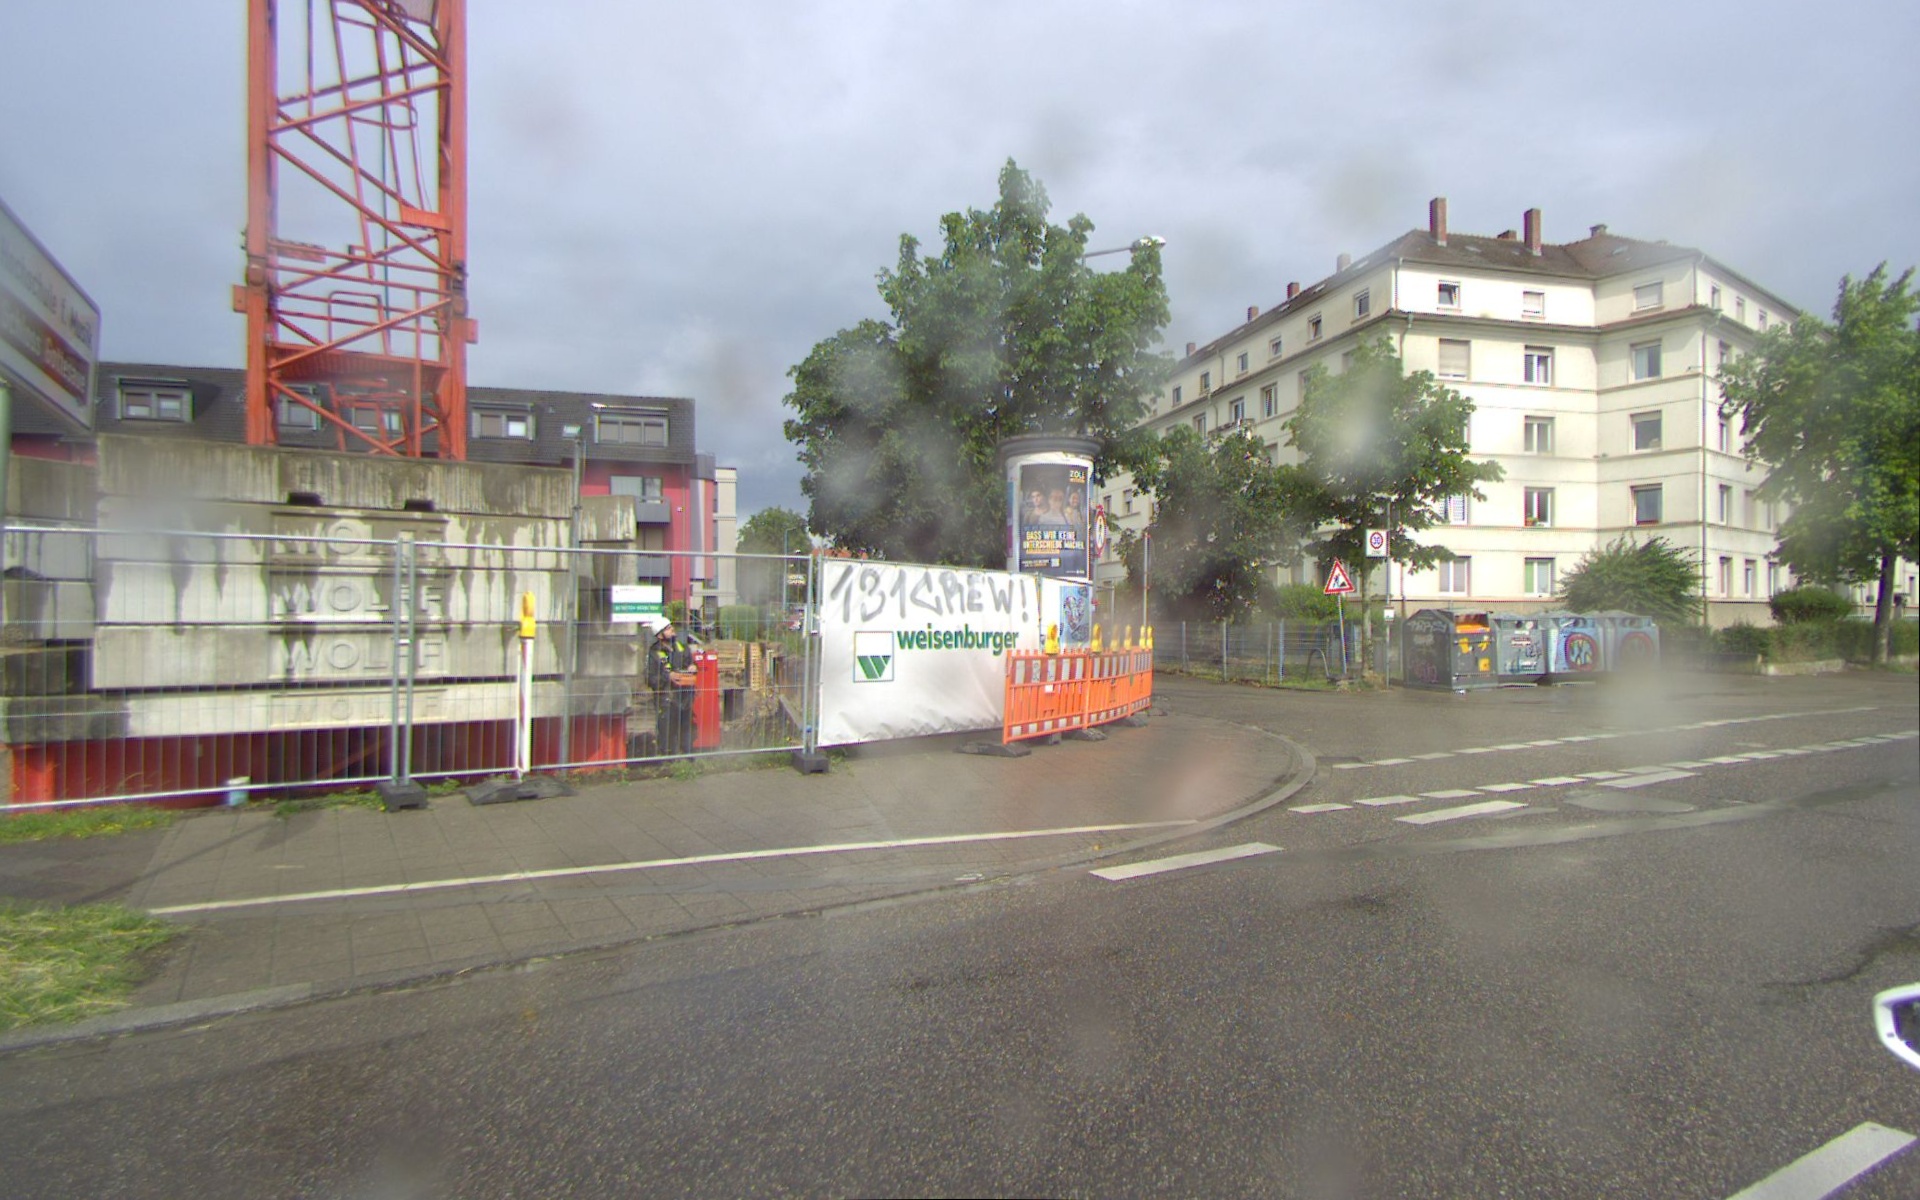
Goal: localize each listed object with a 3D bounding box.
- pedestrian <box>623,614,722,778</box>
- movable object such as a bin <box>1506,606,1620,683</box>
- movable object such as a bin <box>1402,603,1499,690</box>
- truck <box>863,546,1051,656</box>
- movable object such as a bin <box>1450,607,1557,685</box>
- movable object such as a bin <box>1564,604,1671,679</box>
[{"bbox_3d":[-3.046,0.983,10.683,0.709,1.651,0.684,2,1,21],"label":"pedestrian"},{"bbox_3d":[13.967,1.012,23.331,1.637,1.696,1.539,-1,-1,-13],"label":"movable object such as a bin"},{"bbox_3d":[10.925,1.020,22.430,1.241,1.848,1.539,-1,-1,-13],"label":"movable object such as a bin"},{"bbox_3d":[-0.480,0.165,34.845,3.732,3.226,9.808,0,-2,-18],"label":"truck"},{"bbox_3d":[12.390,1.030,22.953,1.501,1.678,1.539,-1,-1,-13],"label":"movable object such as a bin"},{"bbox_3d":[15.490,0.971,23.711,1.433,1.684,1.539,-1,-1,-13],"label":"movable object such as a bin"}]
